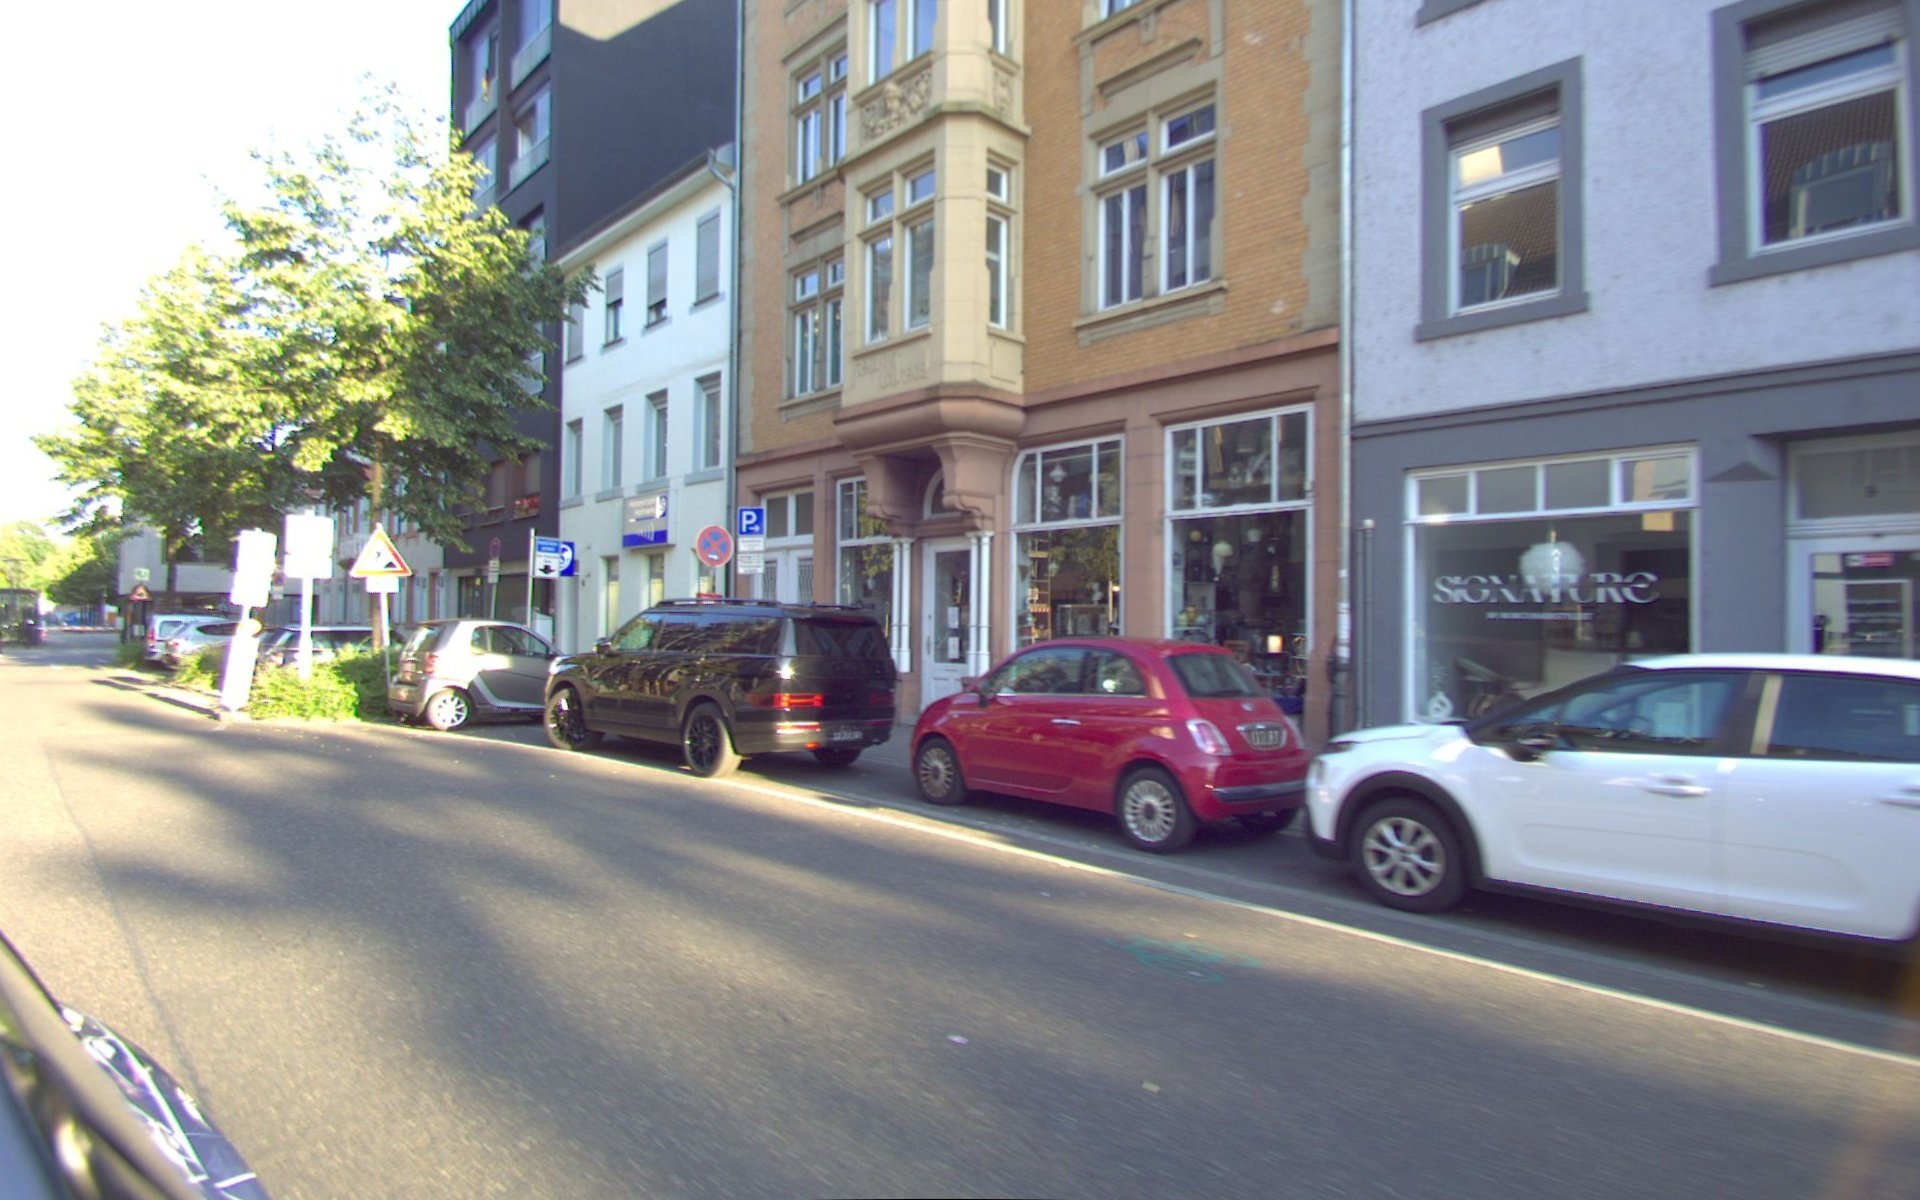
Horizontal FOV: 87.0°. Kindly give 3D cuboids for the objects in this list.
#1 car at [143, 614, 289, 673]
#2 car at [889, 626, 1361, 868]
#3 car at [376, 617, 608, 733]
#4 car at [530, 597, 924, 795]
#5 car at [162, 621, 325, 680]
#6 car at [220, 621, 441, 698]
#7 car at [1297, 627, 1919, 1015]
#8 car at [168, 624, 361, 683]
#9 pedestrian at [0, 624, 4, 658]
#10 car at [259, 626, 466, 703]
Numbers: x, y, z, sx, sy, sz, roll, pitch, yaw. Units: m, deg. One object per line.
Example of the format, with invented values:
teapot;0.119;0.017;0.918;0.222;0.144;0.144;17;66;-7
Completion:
car;-24.667;1.418;33.602;3.762;1.863;1.703;2;-2;-40
car;1.205;1.011;8.320;1.752;1.526;3.488;4;-4;-42
car;-6.846;1.089;14.919;1.572;1.532;2.664;-3;-5;43
car;-2.751;0.903;11.227;4.701;1.741;1.884;-1;-3;42
car;-21.126;1.430;29.907;3.778;1.597;1.744;0;-1;-41
car;-13.774;1.229;22.263;3.846;1.529;1.859;1;-2;-43
car;3.979;0.944;5.142;1.752;1.526;3.954;5;-4;-43
car;-19.331;1.452;28.264;1.762;1.528;4.161;-1;-2;43
pedestrian;-44.902;1.910;47.022;0.469;1.607;0.663;-1;-3;44
car;-12.005;1.227;20.415;3.355;1.402;1.689;1;-2;-41
